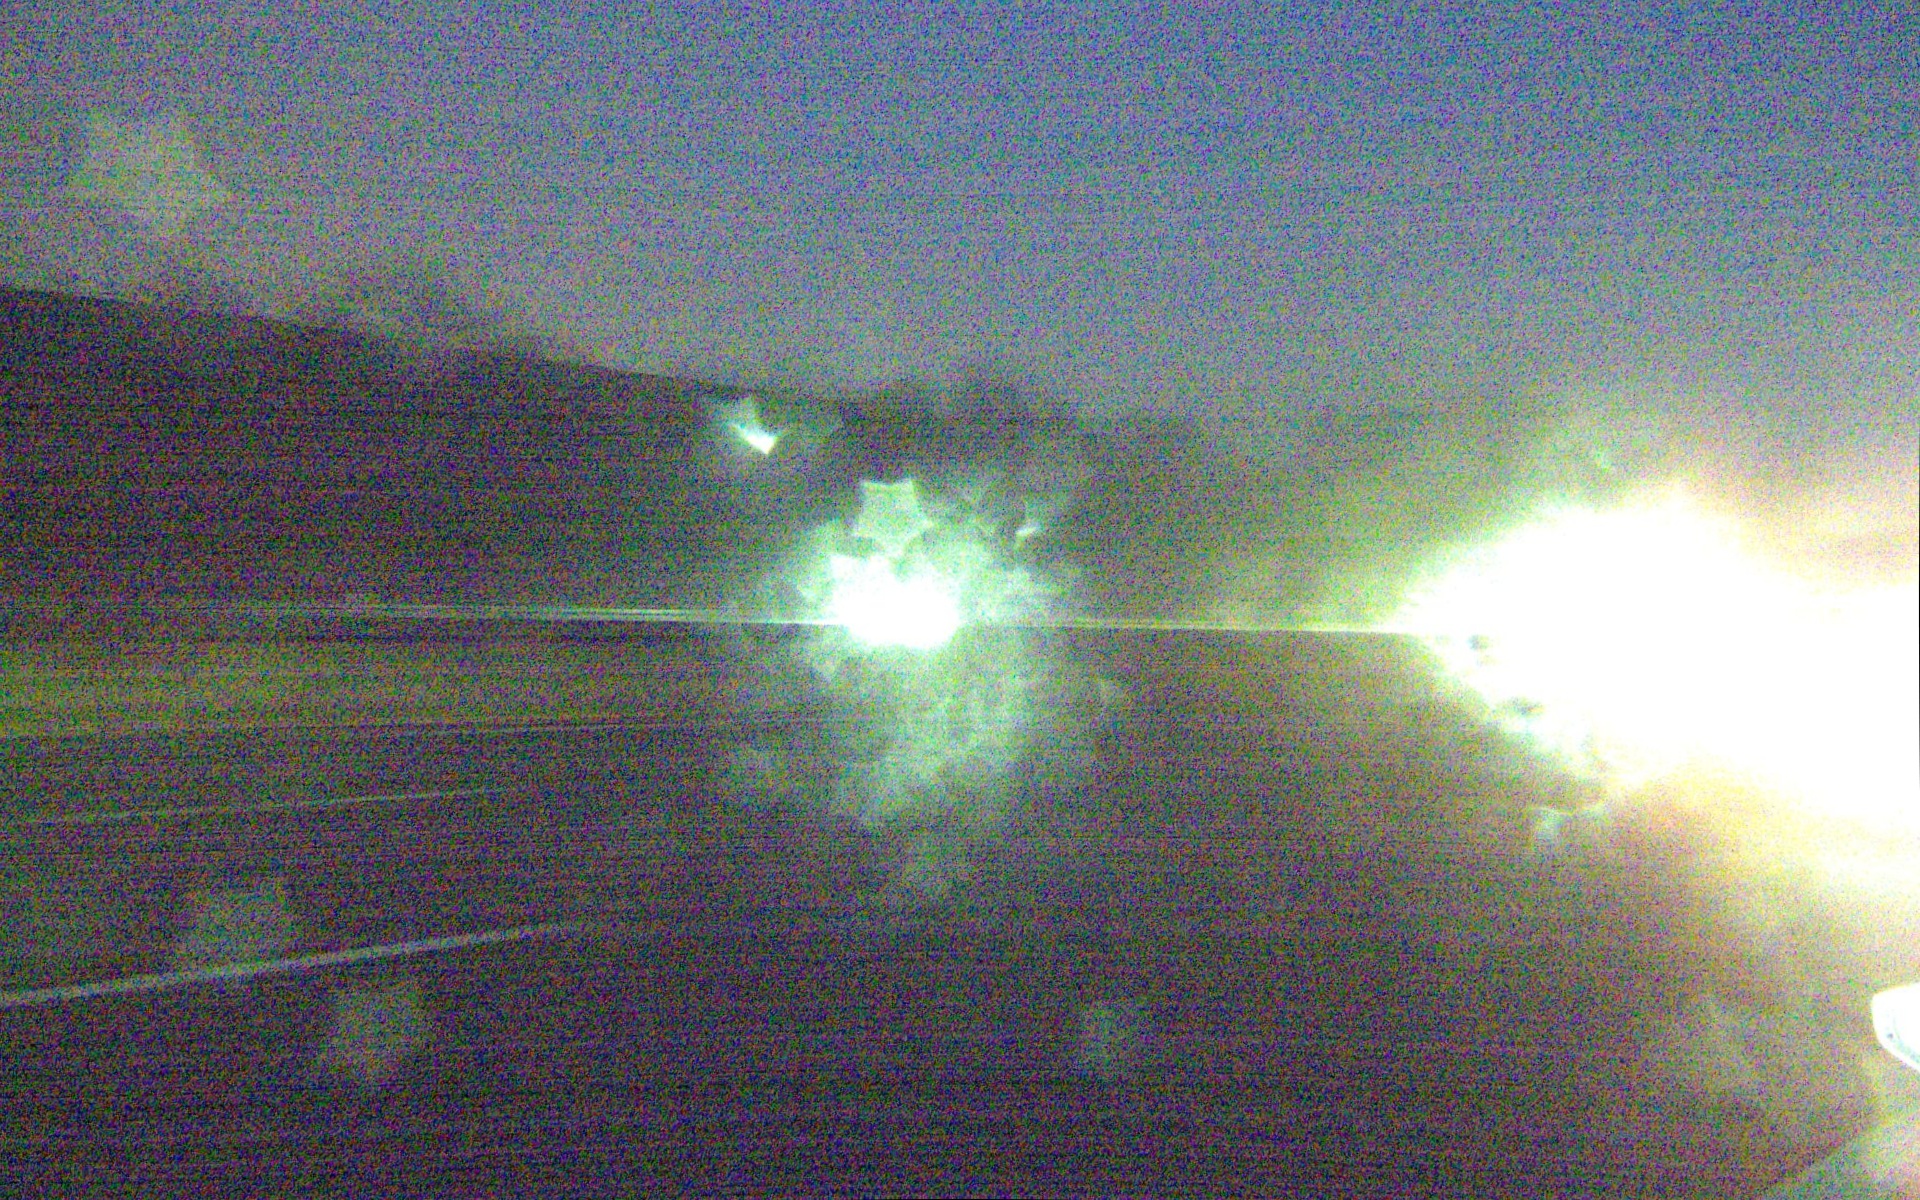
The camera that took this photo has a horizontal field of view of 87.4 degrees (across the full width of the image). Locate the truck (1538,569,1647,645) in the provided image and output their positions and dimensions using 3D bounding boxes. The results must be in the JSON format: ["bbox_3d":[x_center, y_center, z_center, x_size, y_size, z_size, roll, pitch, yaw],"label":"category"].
[{"bbox_3d":[37.048,0.428,58.788,6.197,4.145,2.713,2,3,-31],"label":"truck"}]

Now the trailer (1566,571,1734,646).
[{"bbox_3d":[43.207,0.646,62.590,14.693,4.145,2.713,2,3,-32],"label":"trailer"}]

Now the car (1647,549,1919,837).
[{"bbox_3d":[8.589,0.731,9.039,4.957,2.040,1.984,2,0,-30],"label":"car"}]

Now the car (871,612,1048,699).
[{"bbox_3d":[-0.001,1.480,27.021,4.227,2.040,1.984,3,2,-29],"label":"car"}]
